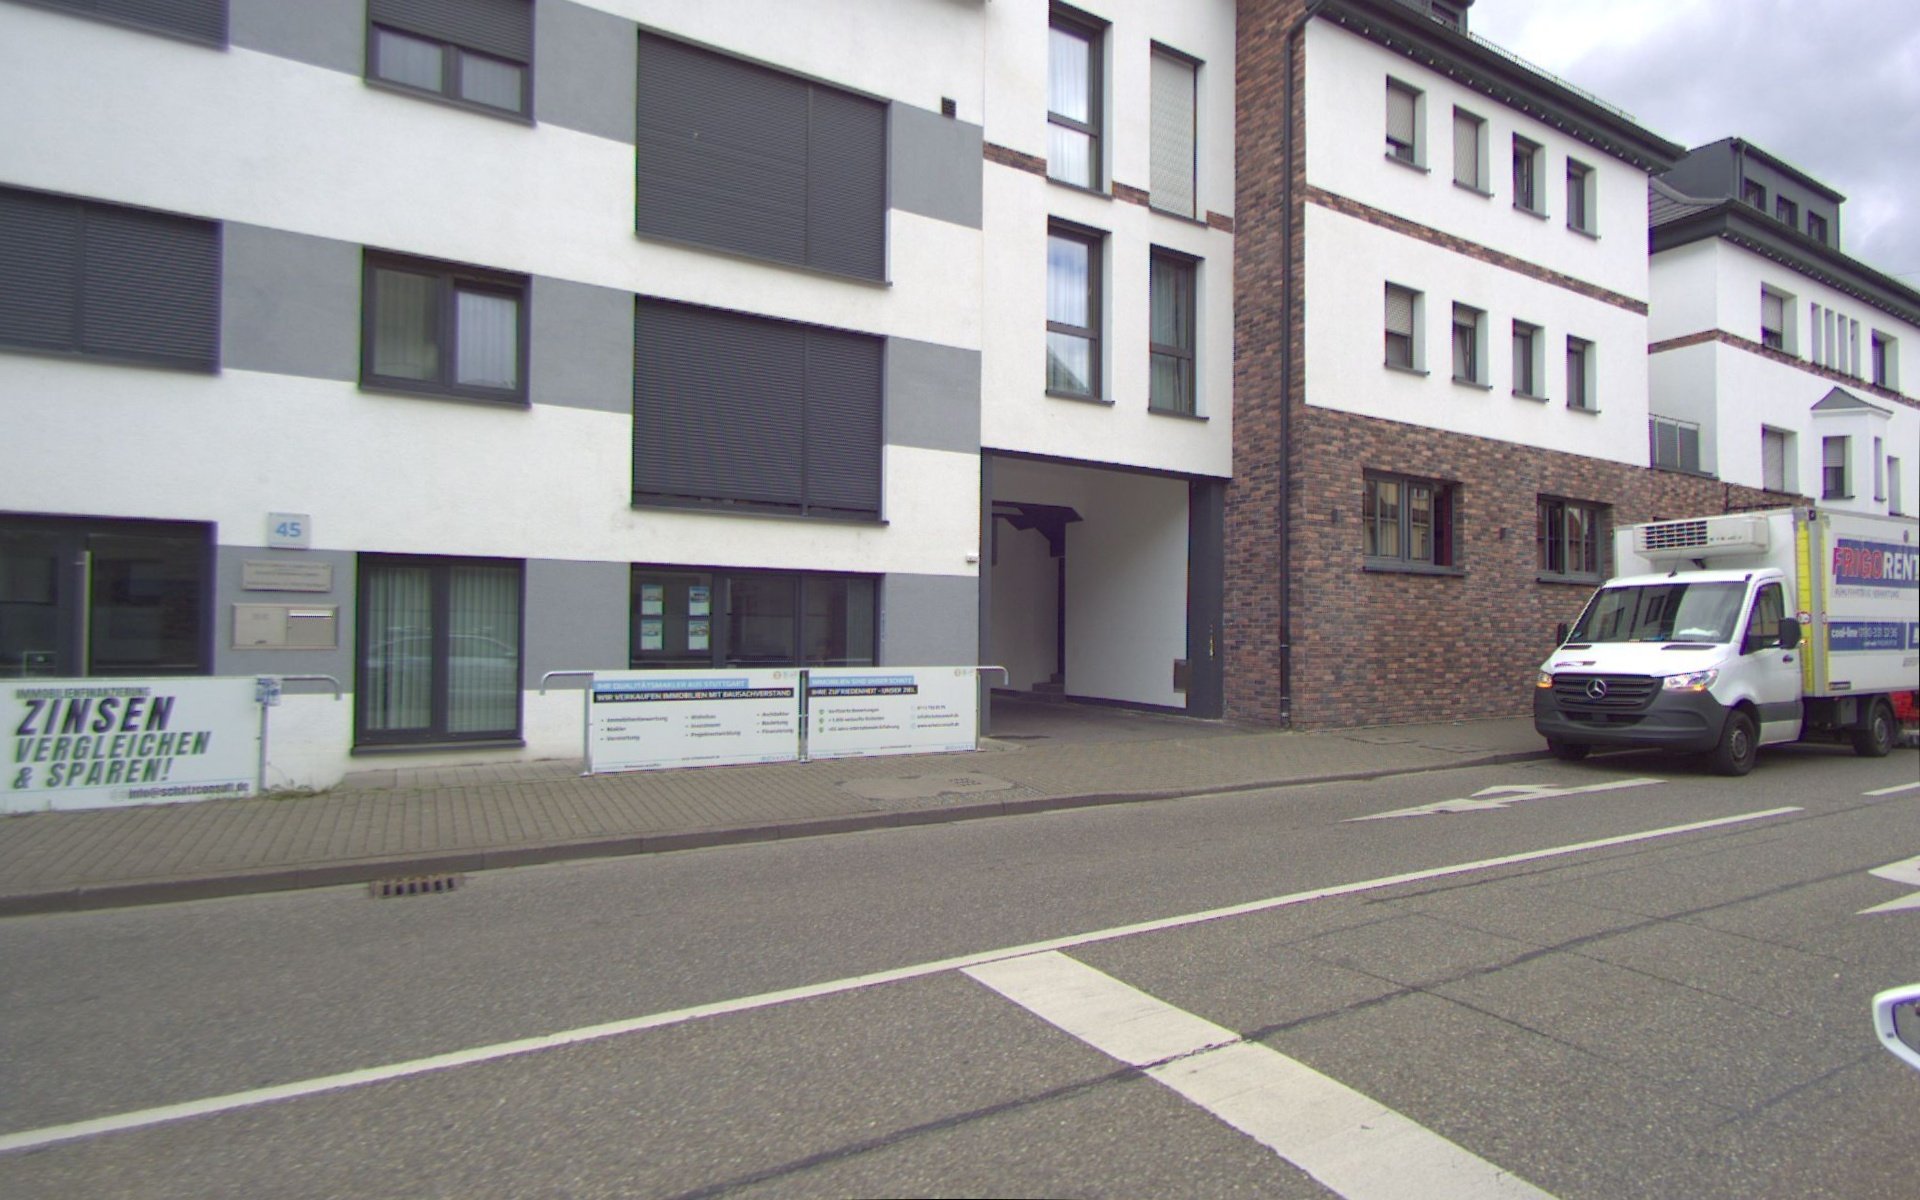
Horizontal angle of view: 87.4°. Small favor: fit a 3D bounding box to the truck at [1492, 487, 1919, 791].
[{"bbox_3d":[10.533,0.508,13.087,8.268,2.992,2.423,1,-3,-31],"label":"truck"}]
